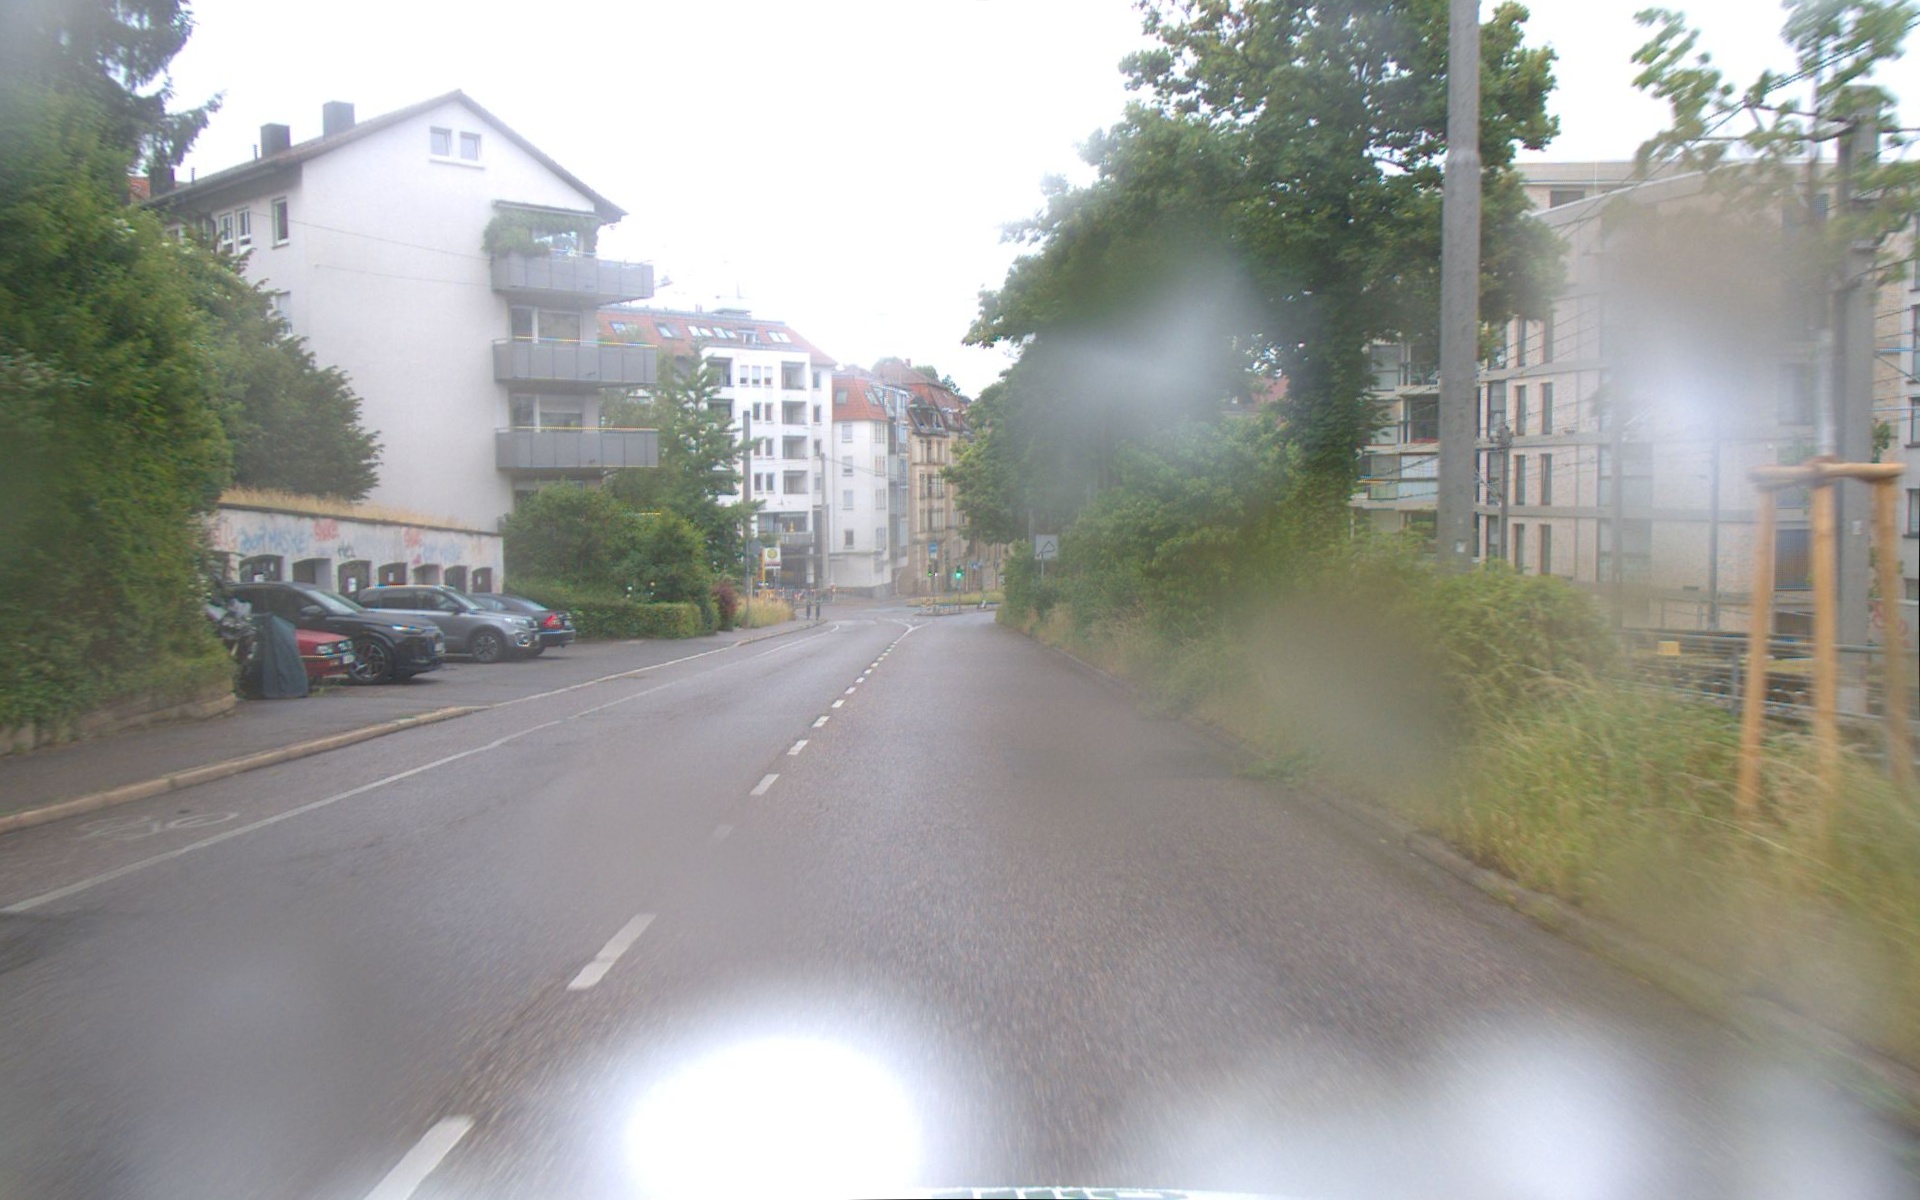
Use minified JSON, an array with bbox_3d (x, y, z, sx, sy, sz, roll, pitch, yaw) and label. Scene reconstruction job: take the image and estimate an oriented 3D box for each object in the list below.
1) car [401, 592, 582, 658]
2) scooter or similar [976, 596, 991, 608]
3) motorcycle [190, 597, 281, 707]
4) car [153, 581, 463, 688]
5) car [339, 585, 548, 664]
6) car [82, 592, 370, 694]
[{"bbox_3d":[-10.595,0.560,37.572,3.556,1.431,1.784,-1,0,1],"label":"car"},{"bbox_3d":[1.595,0.116,111.324,0.475,0.774,1.328,-1,0,27],"label":"scooter or similar"},{"bbox_3d":[-9.391,0.649,21.510,0.606,1.343,2.313,-1,0,-12],"label":"motorcycle"},{"bbox_3d":[-10.670,0.541,27.317,4.359,1.630,1.814,-1,2,-2],"label":"car"},{"bbox_3d":[-10.931,0.503,35.206,3.909,1.587,1.878,-1,0,-5],"label":"car"},{"bbox_3d":[-10.879,0.613,24.717,3.562,1.430,1.714,-1,0,-7],"label":"car"}]
